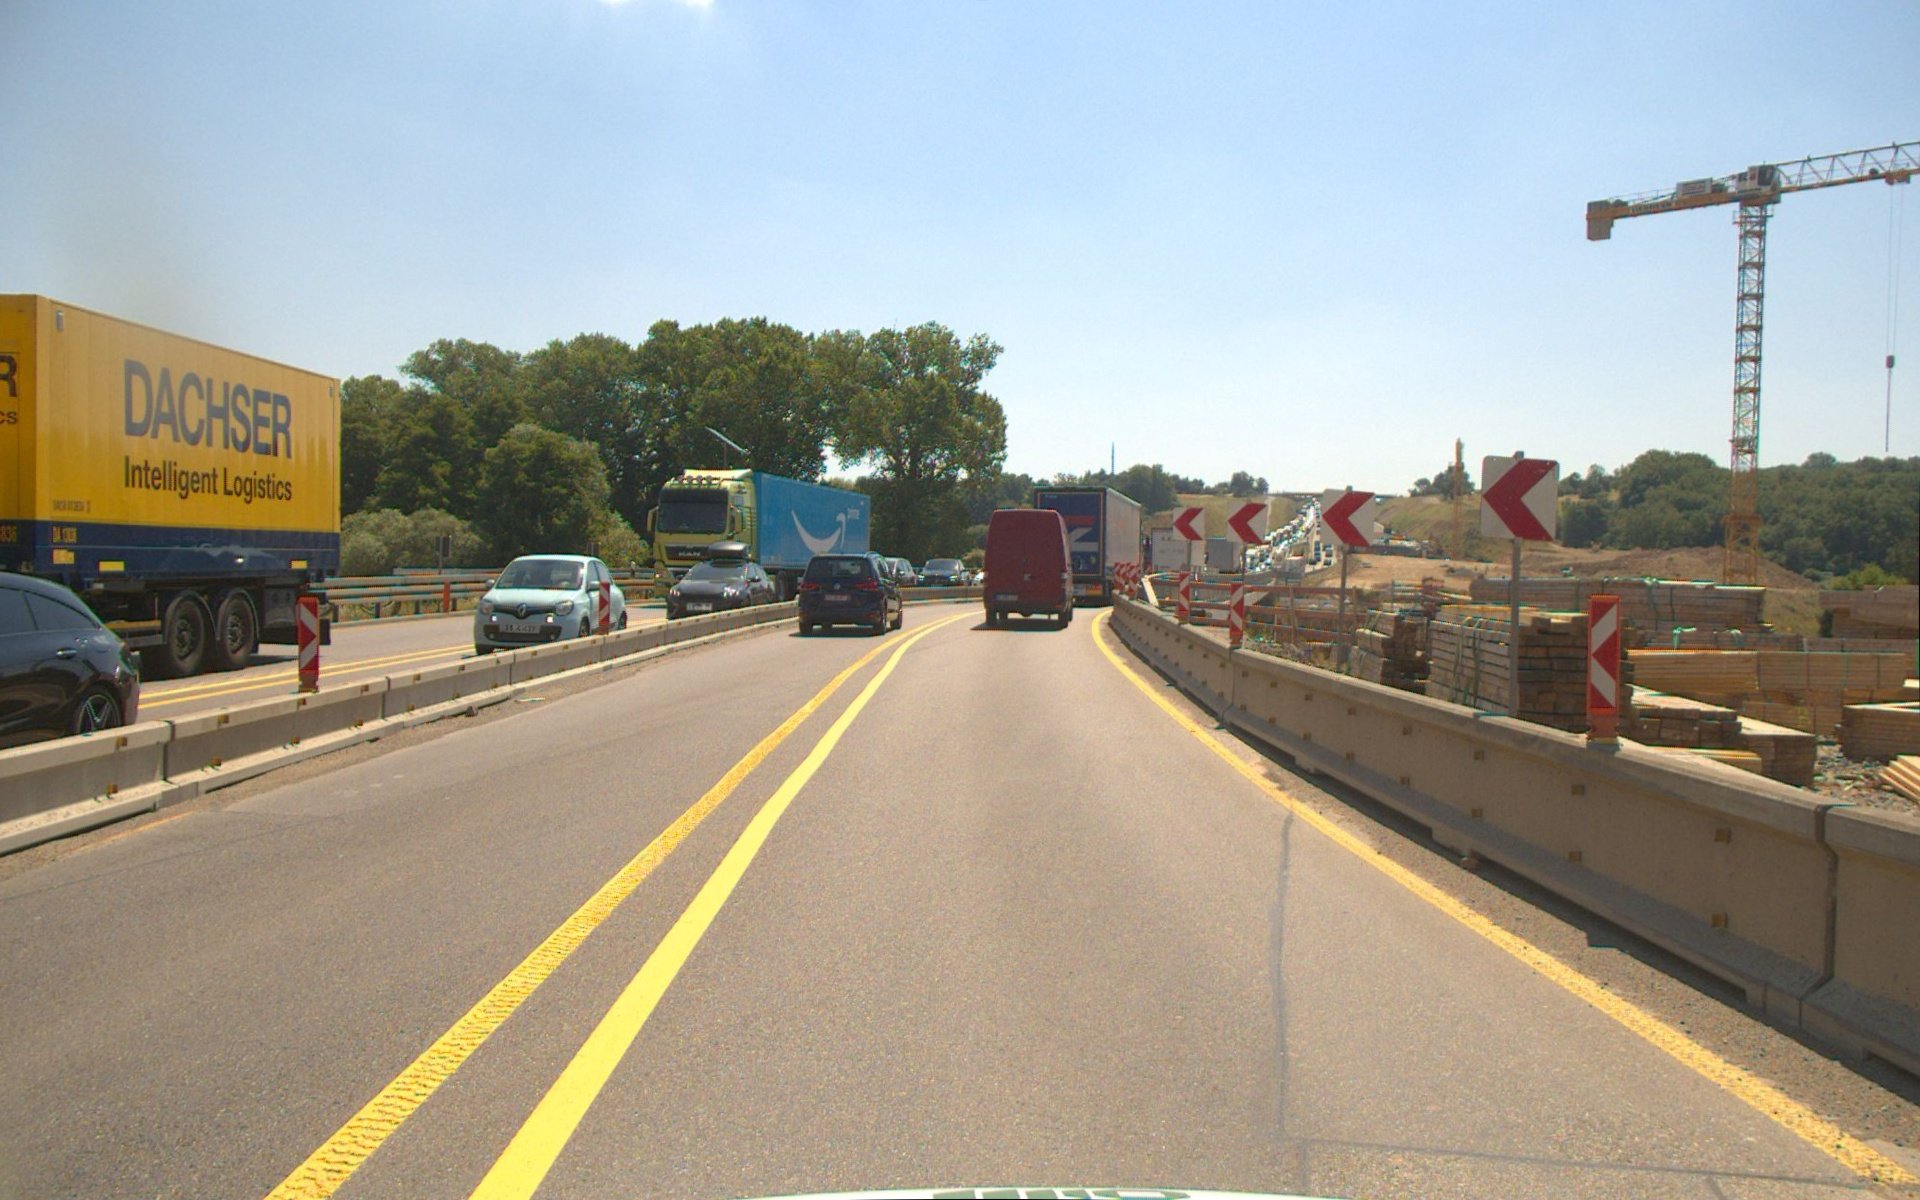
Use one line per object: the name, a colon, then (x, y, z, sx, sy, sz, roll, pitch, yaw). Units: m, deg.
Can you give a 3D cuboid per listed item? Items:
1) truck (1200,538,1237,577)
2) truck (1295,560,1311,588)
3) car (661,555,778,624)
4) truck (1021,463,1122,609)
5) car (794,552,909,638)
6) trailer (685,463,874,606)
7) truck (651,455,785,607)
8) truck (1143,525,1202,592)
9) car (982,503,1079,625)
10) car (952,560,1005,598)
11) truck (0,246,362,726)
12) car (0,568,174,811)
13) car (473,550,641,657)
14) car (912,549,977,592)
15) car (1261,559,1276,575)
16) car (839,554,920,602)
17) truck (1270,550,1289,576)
truck: (24.819, -4.064, 158.574, 3.115, 3.029, 8.905, 1, -3, 11)
truck: (51.916, -3.864, 250.596, 2.242, 3.804, 6.486, 1, -3, 12)
car: (-5.492, -0.287, 38.281, 1.782, 1.460, 4.586, 2, 2, 3)
truck: (4.170, -2.273, 60.627, 2.882, 5.031, 6.747, 1, 1, 10)
car: (-2.219, -0.147, 34.859, 1.697, 1.664, 4.393, 1, 1, 5)
trailer: (-5.951, -2.052, 57.935, 2.591, 4.367, 13.320, 2, 1, 11)
truck: (-7.324, -2.024, 50.641, 2.569, 4.344, 4.736, 2, 0, 9)
truck: (13.695, -2.626, 106.046, 3.114, 4.059, 6.747, 1, 1, 12)
car: (1.678, -0.784, 39.730, 2.105, 2.656, 5.440, 2, 0, 2)
car: (0.951, -1.054, 81.491, 1.781, 1.675, 4.575, 2, 3, 11)
truck: (-10.229, -1.088, 16.621, 2.749, 4.418, 15.375, 2, 0, 0)
car: (-6.418, 0.520, 9.545, 1.642, 1.385, 4.502, 2, 1, -1)
car: (-6.319, -0.003, 26.340, 1.602, 1.511, 4.001, 1, 2, 1)
car: (-0.619, -1.235, 70.134, 1.841, 1.675, 4.719, 2, 1, 10)
car: (34.666, -3.736, 185.782, 1.583, 1.729, 3.893, 2, 1, 11)
car: (-2.836, -0.761, 59.421, 1.781, 1.612, 4.304, 2, 0, 13)
truck: (39.791, -4.606, 205.903, 2.242, 3.252, 6.489, 1, 1, 11)
